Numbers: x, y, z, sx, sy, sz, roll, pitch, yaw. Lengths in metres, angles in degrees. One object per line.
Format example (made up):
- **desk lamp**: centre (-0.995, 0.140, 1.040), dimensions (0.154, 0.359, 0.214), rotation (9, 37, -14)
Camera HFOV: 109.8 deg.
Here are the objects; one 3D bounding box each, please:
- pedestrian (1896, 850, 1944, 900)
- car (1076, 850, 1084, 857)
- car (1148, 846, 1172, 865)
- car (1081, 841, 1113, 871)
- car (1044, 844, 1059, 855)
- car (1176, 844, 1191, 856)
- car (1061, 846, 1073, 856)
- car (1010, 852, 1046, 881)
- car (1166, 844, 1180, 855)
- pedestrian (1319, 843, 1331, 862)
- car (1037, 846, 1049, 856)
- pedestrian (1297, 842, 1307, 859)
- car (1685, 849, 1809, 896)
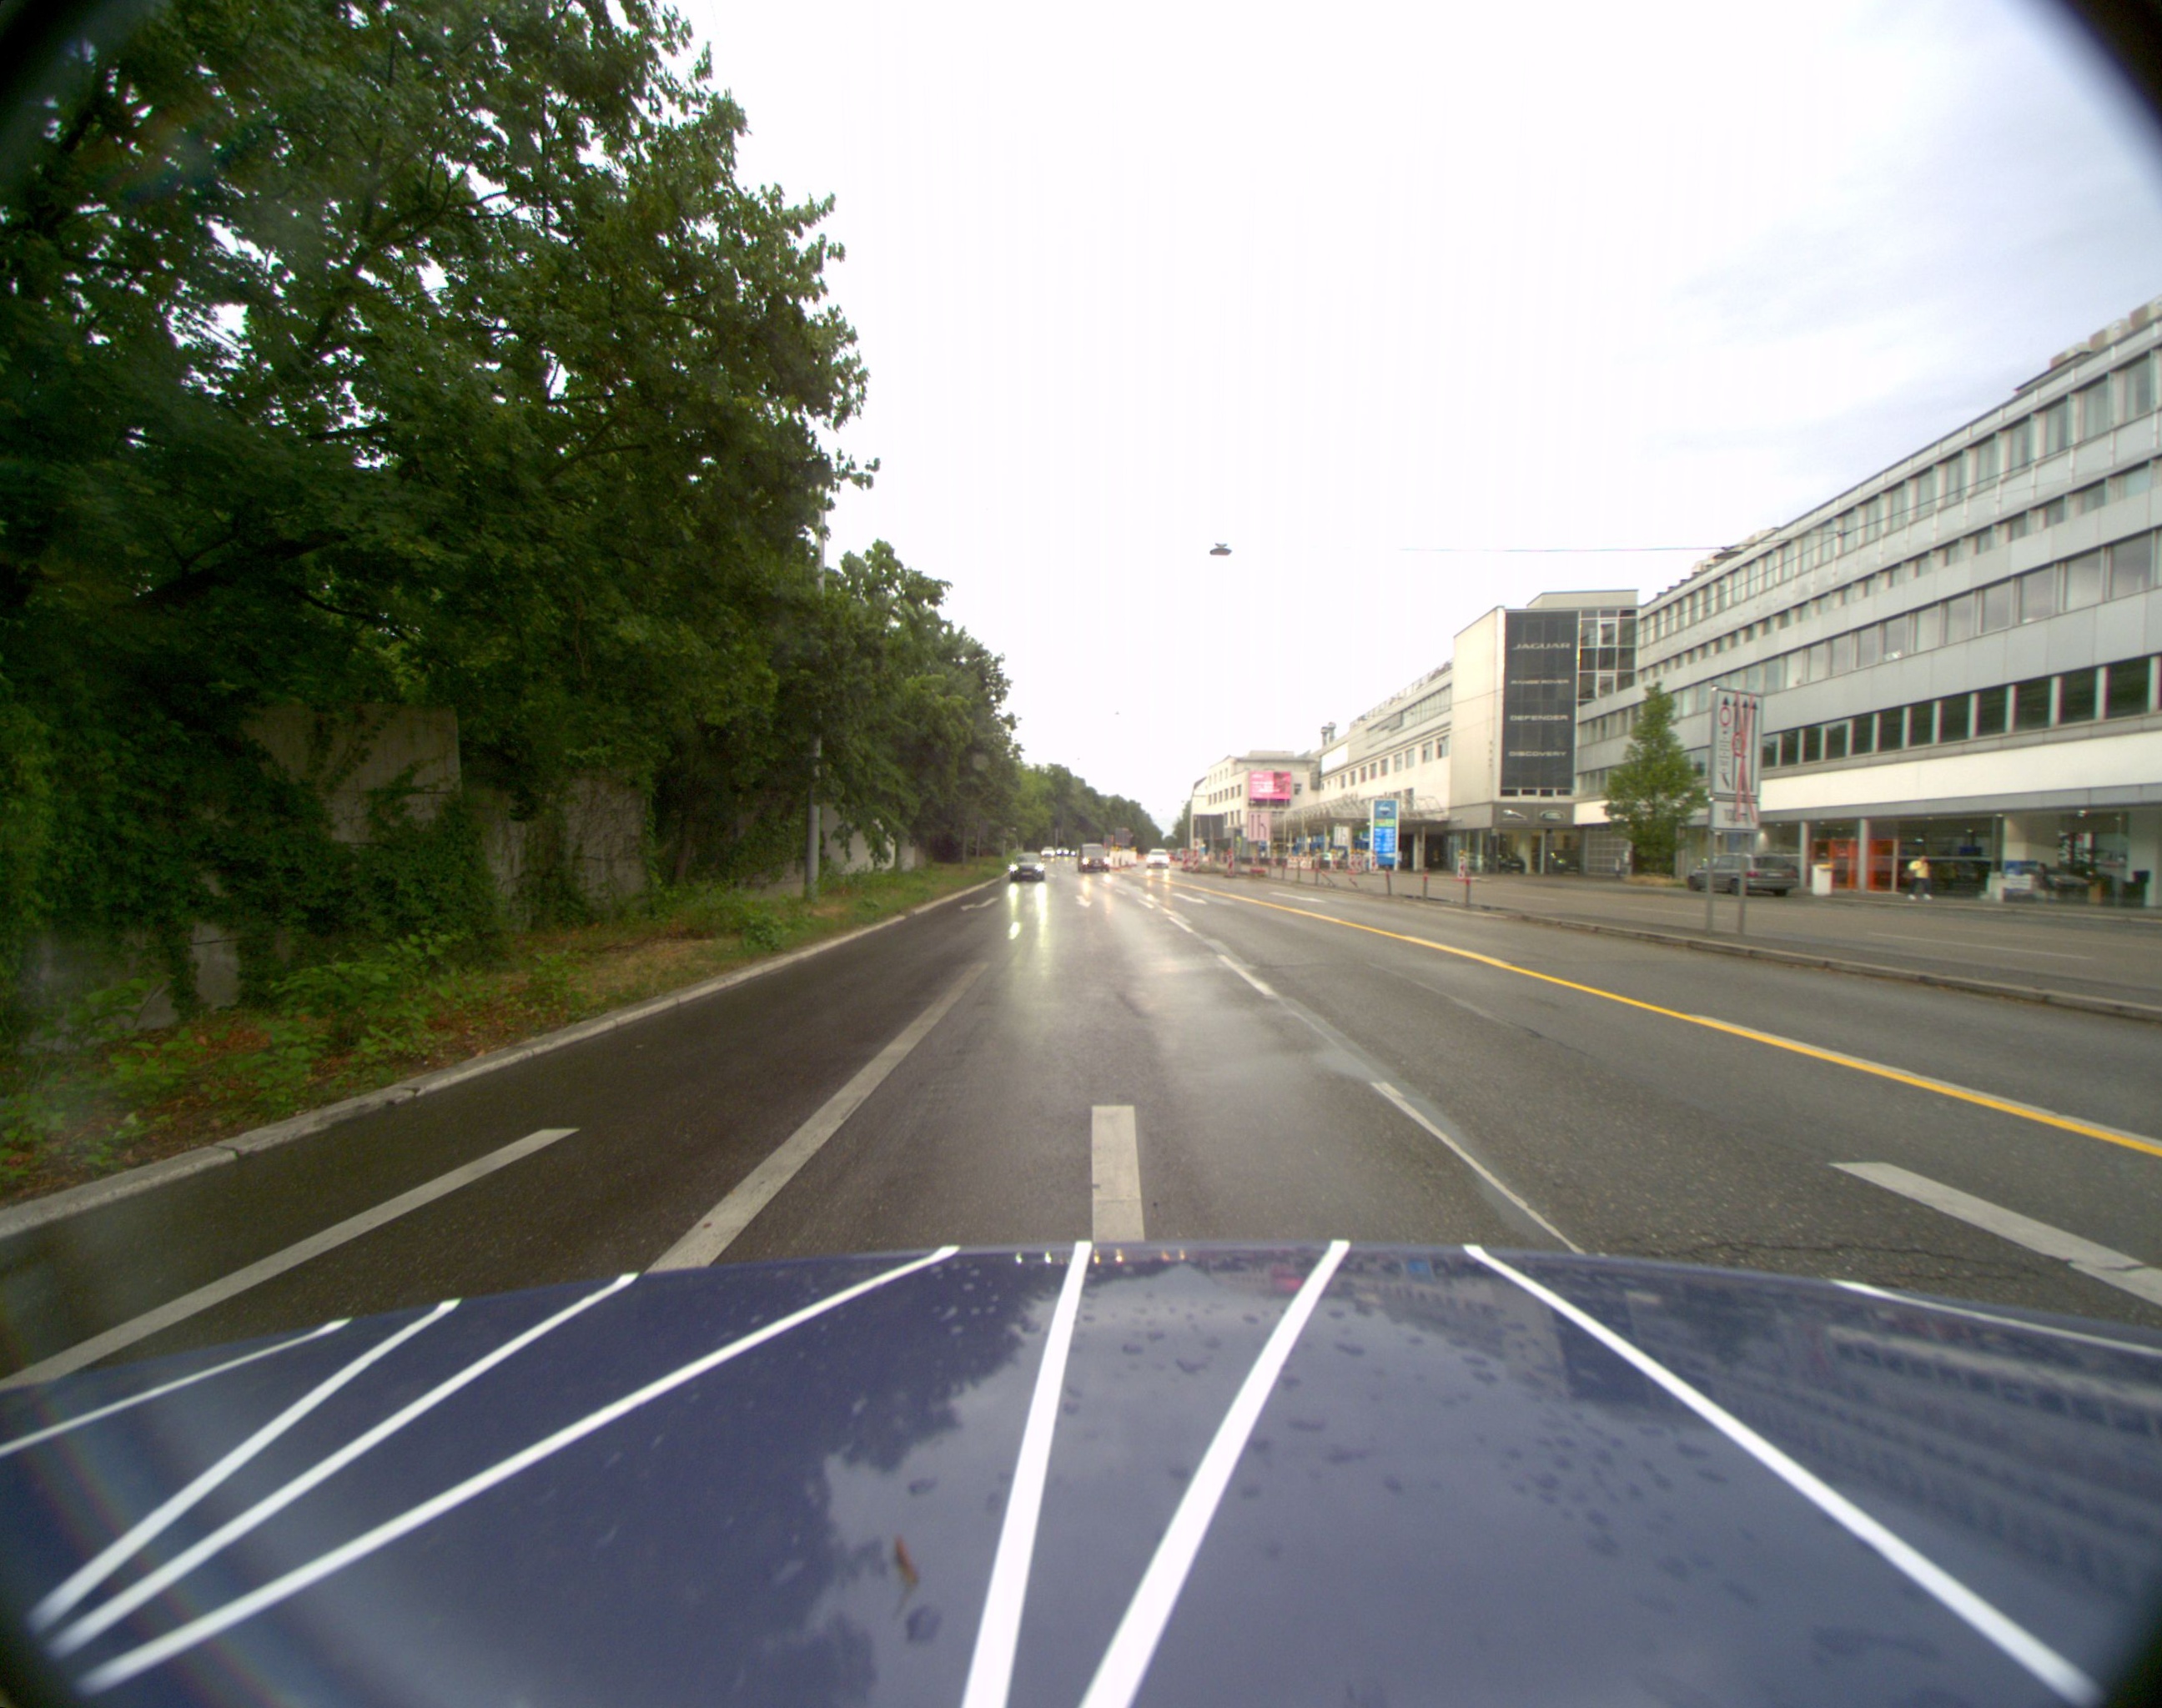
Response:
- **pedestrian**: centre (30.230, 0.742, 27.396), dimensions (0.761, 1.765, 0.864), rotation (-2, 1, 8)
- **car**: centre (-0.264, -0.221, 180.352), dimensions (1.814, 1.590, 3.995), rotation (-2, 1, -1)
- **car**: centre (6.251, 0.100, 60.561), dimensions (1.770, 1.407, 4.334), rotation (-2, 1, 4)
- **car**: centre (1.061, 0.107, 49.559), dimensions (1.905, 1.804, 4.430), rotation (-2, 1, 2)
- **car**: centre (-4.157, -0.676, 107.295), dimensions (1.814, 1.444, 4.333), rotation (-2, 1, 2)
- **car**: centre (14.394, -0.524, 106.942), dimensions (1.608, 1.635, 3.379), rotation (-2, 1, 2)
- **car**: centre (-2.408, -0.554, 131.036), dimensions (1.814, 1.590, 4.332), rotation (-2, 1, -1)
- **car**: centre (-2.842, 0.670, 40.949), dimensions (1.753, 1.395, 4.413), rotation (-3, 0, -3)
- **car**: centre (14.628, -0.756, 121.394), dimensions (1.798, 1.753, 3.727), rotation (-2, 1, 2)
- **pedestrian**: centre (23.636, -0.152, 73.611), dimensions (0.895, 1.804, 0.941), rotation (-2, 1, 5)
- **car**: centre (-6.464, -0.482, 131.145), dimensions (1.814, 1.590, 4.332), rotation (-2, 1, 0)
- **pedestrian**: centre (23.891, -0.360, 82.183), dimensions (0.894, 1.804, 0.942), rotation (-2, 1, 14)
- **car**: centre (28.414, 0.738, 32.602), dimensions (1.922, 1.805, 4.166), rotation (-2, 1, 6)
